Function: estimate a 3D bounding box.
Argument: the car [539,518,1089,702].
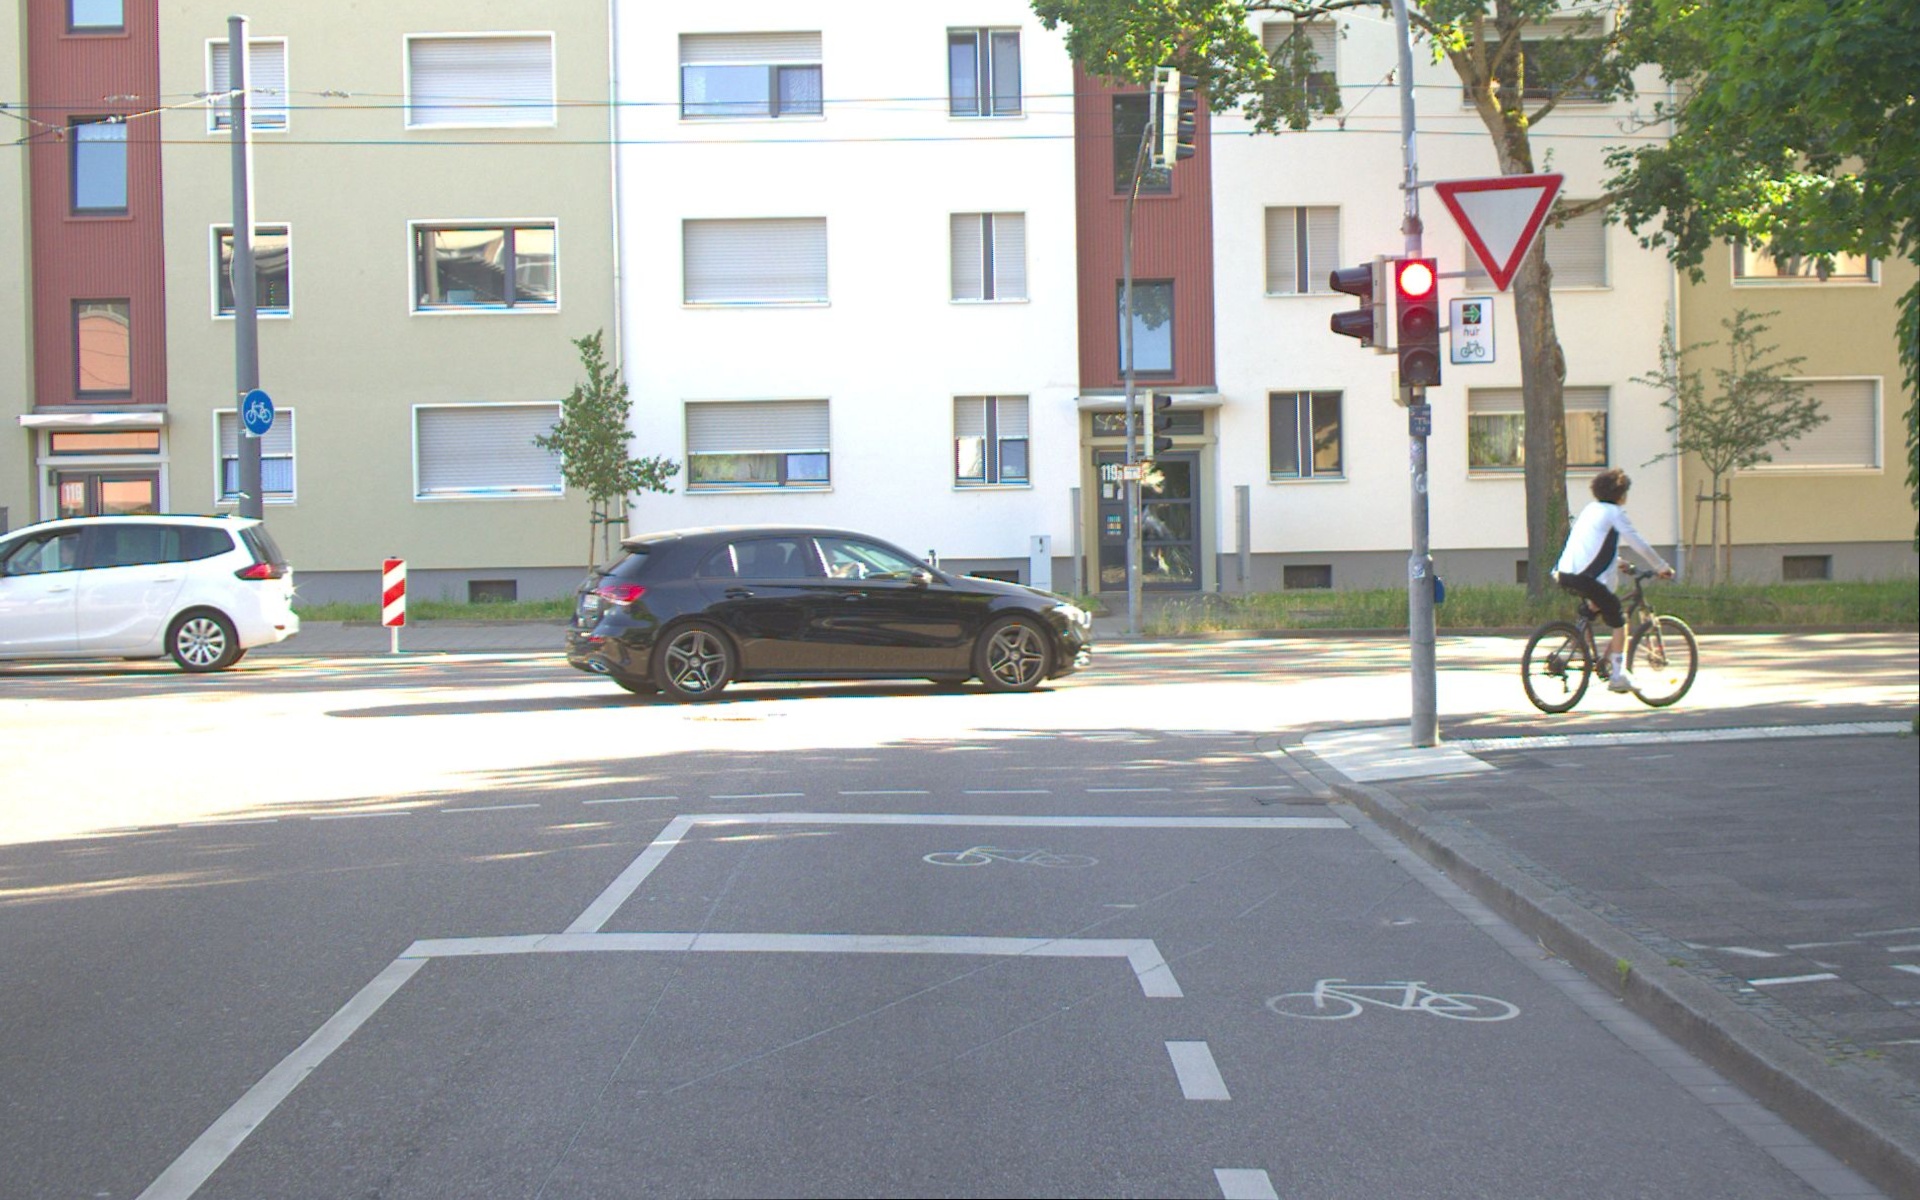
[{"bbox_3d":[-1.221,0.037,28.632,4.192,1.416,1.854,-1,2,-23],"label":"car"}]

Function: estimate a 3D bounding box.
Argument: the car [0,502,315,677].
[{"bbox_3d":[-9.162,-0.123,35.823,4.661,1.733,2.001,-1,1,-7],"label":"car"}]

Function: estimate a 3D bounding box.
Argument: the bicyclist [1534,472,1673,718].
[{"bbox_3d":[4.679,-0.047,24.985,0.786,1.751,0.612,-2,2,-39],"label":"bicyclist"}]

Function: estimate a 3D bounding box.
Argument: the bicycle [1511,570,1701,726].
[{"bbox_3d":[4.721,0.335,25.069,1.684,1.076,0.351,-1,1,-39],"label":"bicycle"}]
